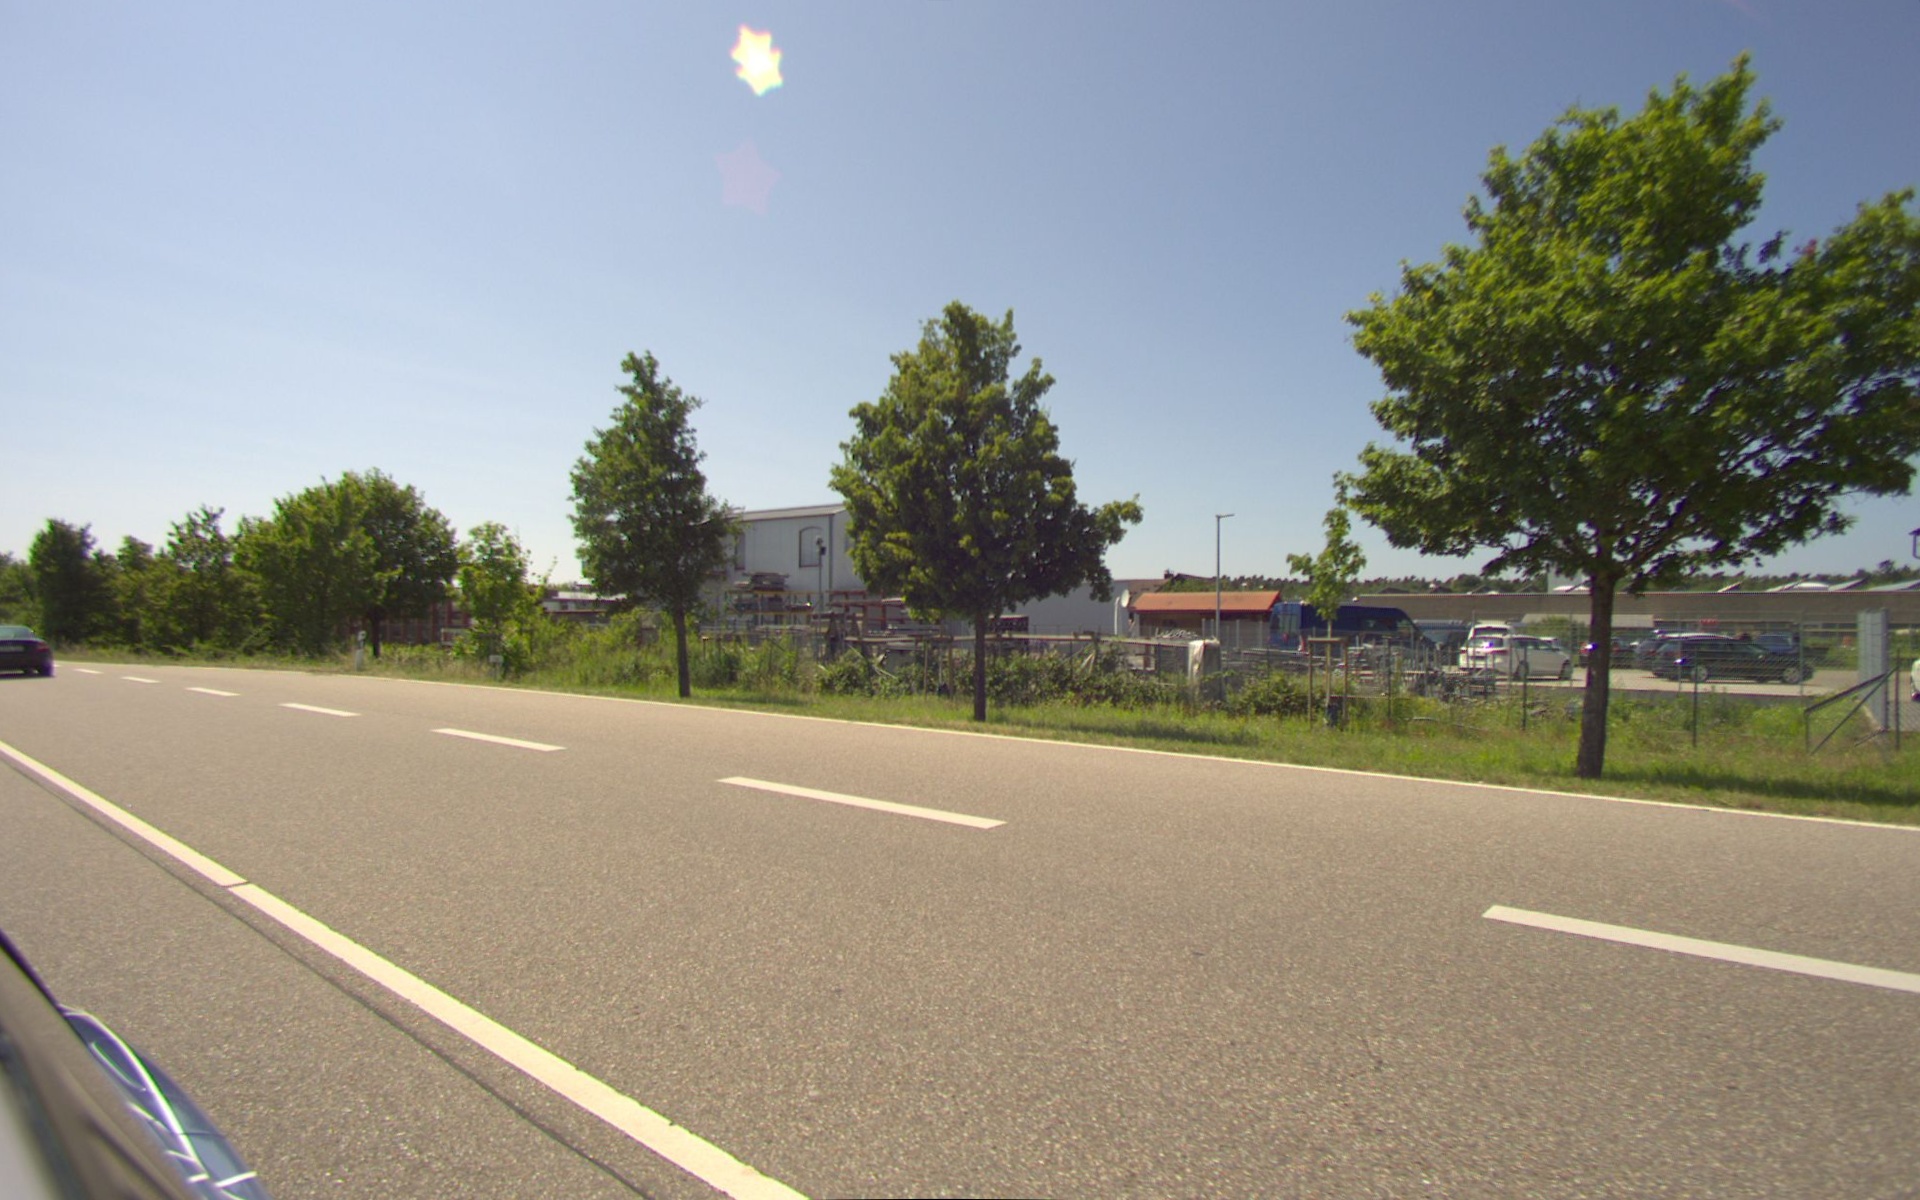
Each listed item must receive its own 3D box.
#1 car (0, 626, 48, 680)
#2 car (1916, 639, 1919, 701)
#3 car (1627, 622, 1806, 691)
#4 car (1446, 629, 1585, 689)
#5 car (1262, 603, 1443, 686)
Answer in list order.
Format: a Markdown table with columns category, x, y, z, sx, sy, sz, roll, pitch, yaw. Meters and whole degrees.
| category | x | y | z | sx | sy | sz | roll | pitch | yaw |
| --- | --- | --- | --- | --- | --- | --- | --- | --- | --- |
| car | -24.441 | 1.324 | 25.506 | 3.808 | 1.278 | 1.620 | -2 | -1 | 39 |
| car | 22.131 | 1.619 | 21.908 | 1.639 | 1.419 | 3.652 | -1 | -1 | 37 |
| car | 28.386 | 2.125 | 38.133 | 5.037 | 2.445 | 2.053 | 1 | -3 | 4 |
| car | 18.108 | 1.900 | 32.942 | 4.557 | 1.821 | 2.061 | 2 | -3 | -34 |
| car | 13.724 | 1.586 | 35.442 | 5.646 | 2.743 | 2.372 | 1 | -3 | -18 |
